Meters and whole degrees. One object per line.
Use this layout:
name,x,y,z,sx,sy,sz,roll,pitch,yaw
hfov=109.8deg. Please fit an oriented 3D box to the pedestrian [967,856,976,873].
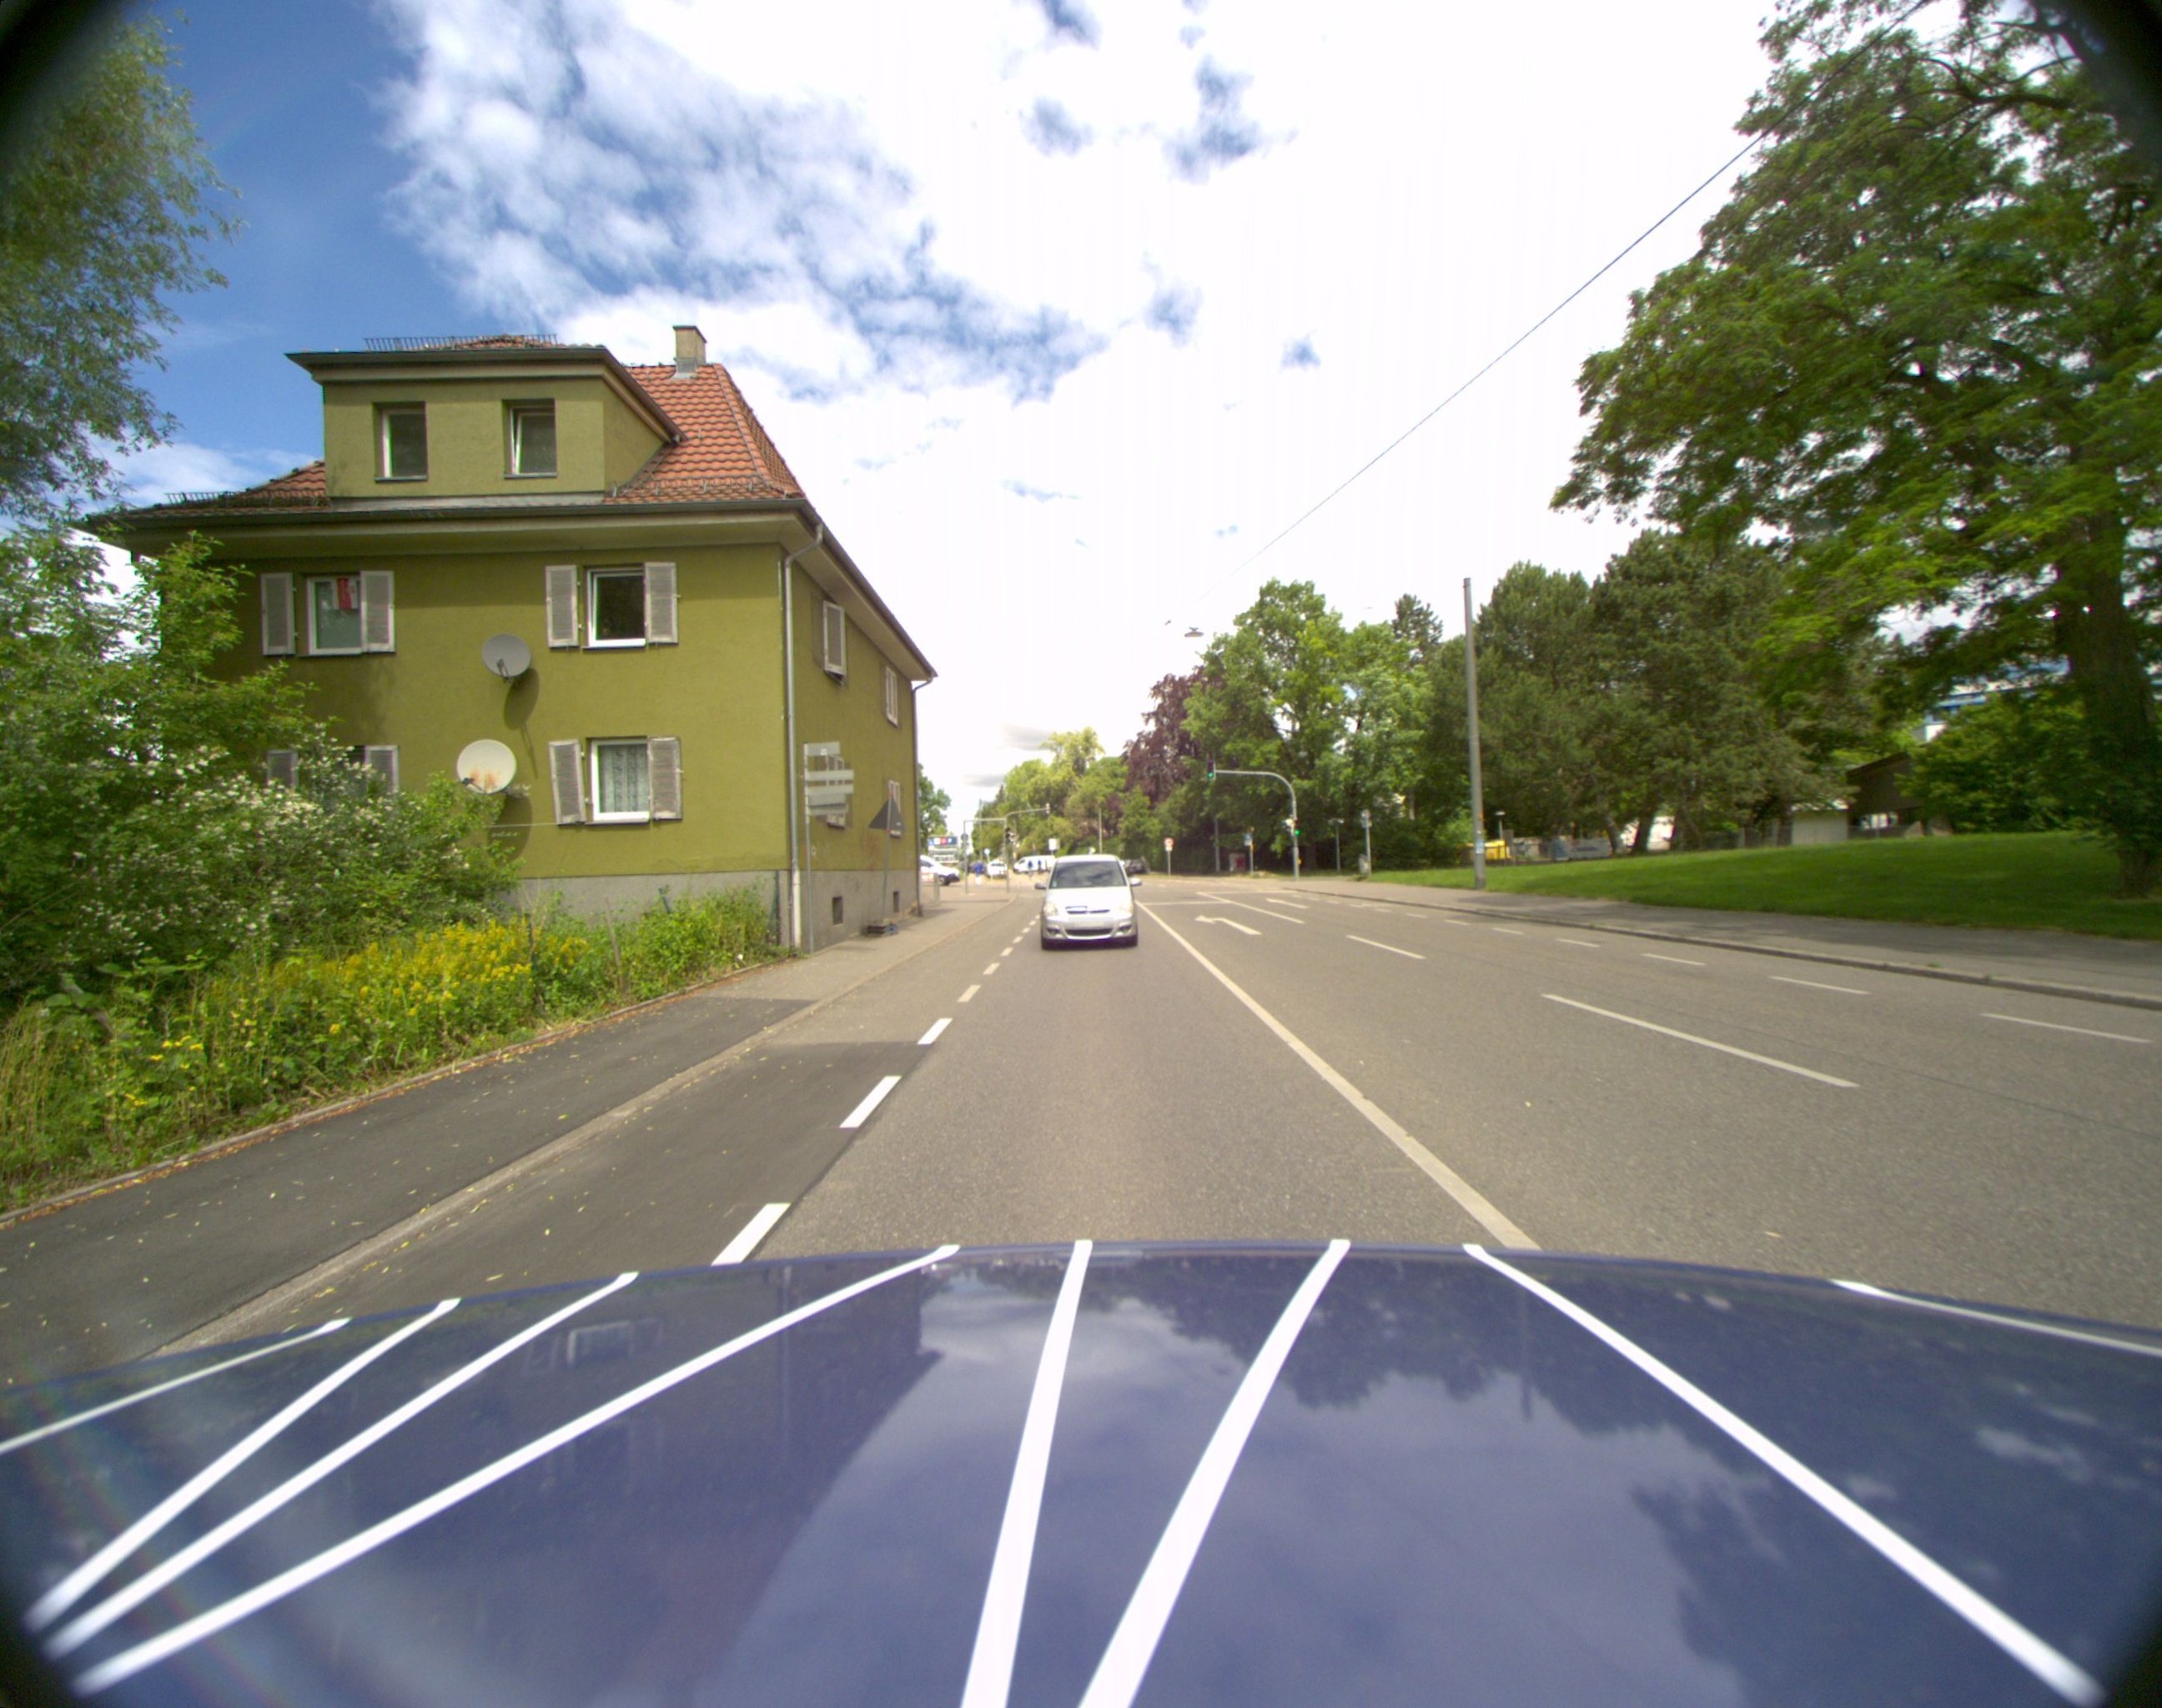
pedestrian,-11.412,1.101,79.426,0.723,1.651,0.777,-4,1,-4

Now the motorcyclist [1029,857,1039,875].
motorcyclist,-4.119,1.013,66.133,0.837,1.547,0.650,0,1,-1

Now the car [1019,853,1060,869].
car,-4.804,0.798,87.624,4.490,1.787,1.804,0,1,36

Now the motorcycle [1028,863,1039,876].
motorcycle,-4.115,1.370,66.273,0.837,1.101,1.800,0,0,-1

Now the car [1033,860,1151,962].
car,0.202,0.904,13.805,1.780,1.519,4.000,-2,0,1

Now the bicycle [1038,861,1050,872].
bicycle,-3.928,1.283,80.187,0.814,1.101,1.798,-4,0,-16

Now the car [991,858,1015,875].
car,-7.062,1.105,69.005,1.799,1.501,4.000,-1,0,0

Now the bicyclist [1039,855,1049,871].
bicyclist,-3.945,0.950,80.142,0.808,1.599,0.771,-4,1,-16

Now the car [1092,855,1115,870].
car,2.455,0.919,82.197,1.900,1.501,3.997,0,1,-7

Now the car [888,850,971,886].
car,-8.902,0.828,44.865,4.364,1.983,2.001,-1,1,9

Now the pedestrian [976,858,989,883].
pedestrian,-6.171,1.043,47.430,0.729,1.543,1.056,-2,0,-10

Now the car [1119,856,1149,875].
car,4.671,0.998,67.532,1.900,1.501,3.997,0,1,-7

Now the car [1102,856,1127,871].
car,3.333,0.941,77.213,1.900,1.501,3.997,0,1,-7
